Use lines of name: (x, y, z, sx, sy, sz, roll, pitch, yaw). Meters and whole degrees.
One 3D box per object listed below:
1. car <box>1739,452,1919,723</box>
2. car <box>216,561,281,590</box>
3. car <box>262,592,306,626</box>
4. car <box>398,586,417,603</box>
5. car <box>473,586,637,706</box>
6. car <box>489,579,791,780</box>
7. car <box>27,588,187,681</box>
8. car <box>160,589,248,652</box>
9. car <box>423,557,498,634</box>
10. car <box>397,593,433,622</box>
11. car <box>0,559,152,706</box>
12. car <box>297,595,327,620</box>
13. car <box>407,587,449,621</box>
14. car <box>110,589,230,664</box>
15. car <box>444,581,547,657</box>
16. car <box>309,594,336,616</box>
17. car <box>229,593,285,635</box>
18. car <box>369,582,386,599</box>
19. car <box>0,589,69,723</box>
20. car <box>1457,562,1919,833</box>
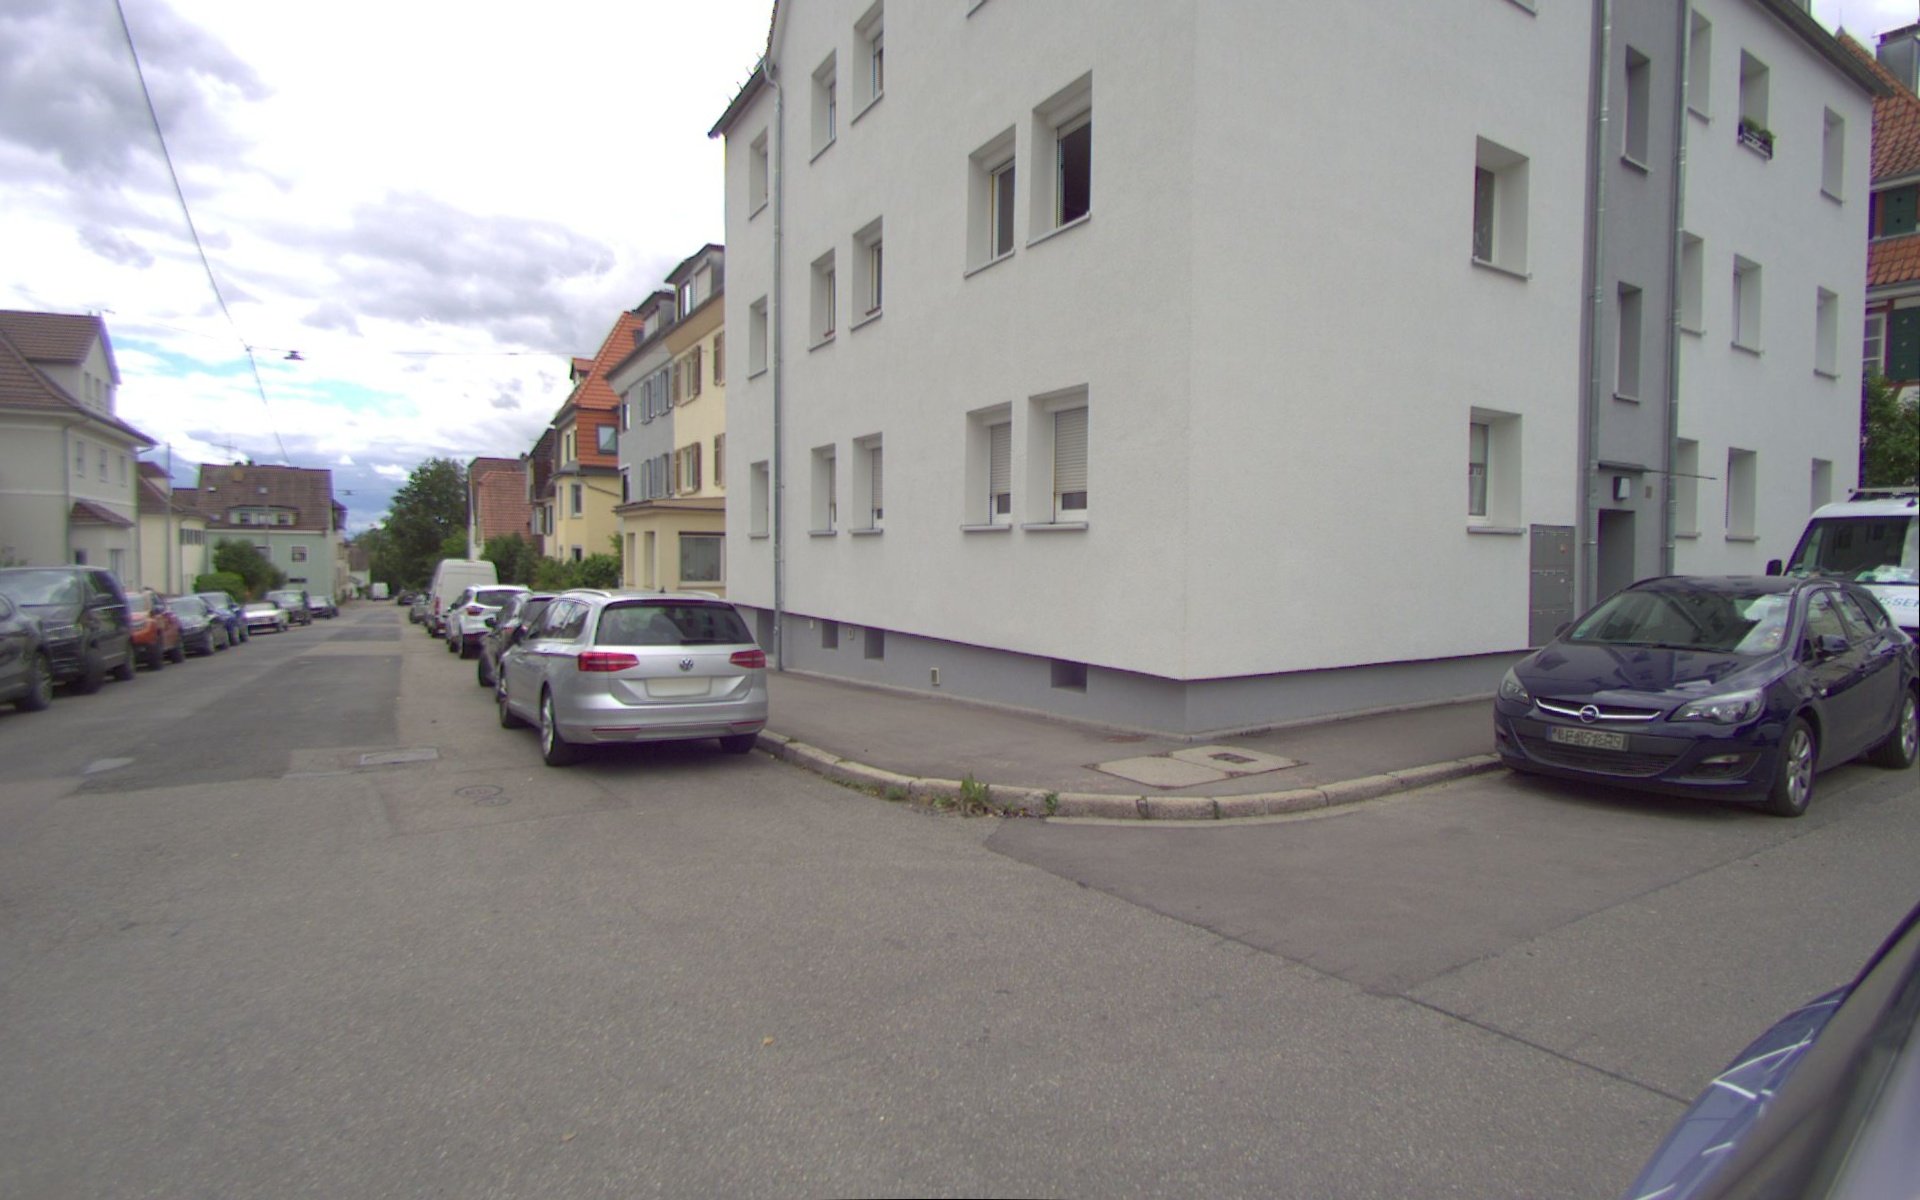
car: (10.646, -0.246, 10.854, 5.192, 2.451, 2.002, -3, 4, -33)
car: (-53.559, -1.837, 76.168, 3.927, 2.037, 1.805, -1, 5, -38)
car: (-33.494, 0.427, 50.200, 1.587, 1.579, 3.977, -1, 0, -31)
car: (-57.011, -0.564, 104.415, 1.694, 1.607, 3.891, -2, 1, -30)
car: (-5.880, 0.547, 14.414, 1.703, 1.440, 4.004, 0, 0, -29)
car: (-3.278, 0.552, 9.711, 1.729, 1.468, 4.362, 0, 1, -32)
car: (-16.933, 0.604, 20.296, 1.735, 1.531, 3.978, -5, 3, -31)
car: (-22.352, 0.542, 30.047, 1.588, 1.578, 3.978, -5, 4, -31)
car: (-17.489, -0.155, 35.276, 2.072, 2.444, 5.900, 0, 0, -29)
car: (-32.064, 0.409, 59.497, 1.694, 1.607, 3.891, -2, 0, -30)
car: (-14.134, 0.450, 15.634, 1.856, 1.915, 4.519, -5, 3, -31)
car: (-43.931, 0.481, 68.695, 1.587, 1.579, 3.744, -1, 0, -31)
car: (-26.549, 0.203, 50.484, 1.694, 1.607, 3.891, -2, 0, -30)
car: (-19.326, 0.580, 24.924, 1.735, 1.531, 3.978, -5, 4, -31)
car: (-11.265, 0.424, 24.397, 1.831, 1.627, 4.003, -2, 0, -31)
car: (-47.508, 0.353, 75.481, 1.587, 1.560, 3.491, -1, 0, -31)
car: (-28.509, 0.545, 41.123, 1.587, 1.579, 3.977, -1, 0, -31)
car: (-83.279, -1.386, 144.728, 1.805, 2.347, 3.889, -2, 1, -33)
car: (-11.360, 0.675, 10.914, 1.638, 1.460, 4.208, -5, 2, -29)
car: (5.761, 0.478, 7.666, 4.206, 1.504, 1.824, -2, 3, -36)
